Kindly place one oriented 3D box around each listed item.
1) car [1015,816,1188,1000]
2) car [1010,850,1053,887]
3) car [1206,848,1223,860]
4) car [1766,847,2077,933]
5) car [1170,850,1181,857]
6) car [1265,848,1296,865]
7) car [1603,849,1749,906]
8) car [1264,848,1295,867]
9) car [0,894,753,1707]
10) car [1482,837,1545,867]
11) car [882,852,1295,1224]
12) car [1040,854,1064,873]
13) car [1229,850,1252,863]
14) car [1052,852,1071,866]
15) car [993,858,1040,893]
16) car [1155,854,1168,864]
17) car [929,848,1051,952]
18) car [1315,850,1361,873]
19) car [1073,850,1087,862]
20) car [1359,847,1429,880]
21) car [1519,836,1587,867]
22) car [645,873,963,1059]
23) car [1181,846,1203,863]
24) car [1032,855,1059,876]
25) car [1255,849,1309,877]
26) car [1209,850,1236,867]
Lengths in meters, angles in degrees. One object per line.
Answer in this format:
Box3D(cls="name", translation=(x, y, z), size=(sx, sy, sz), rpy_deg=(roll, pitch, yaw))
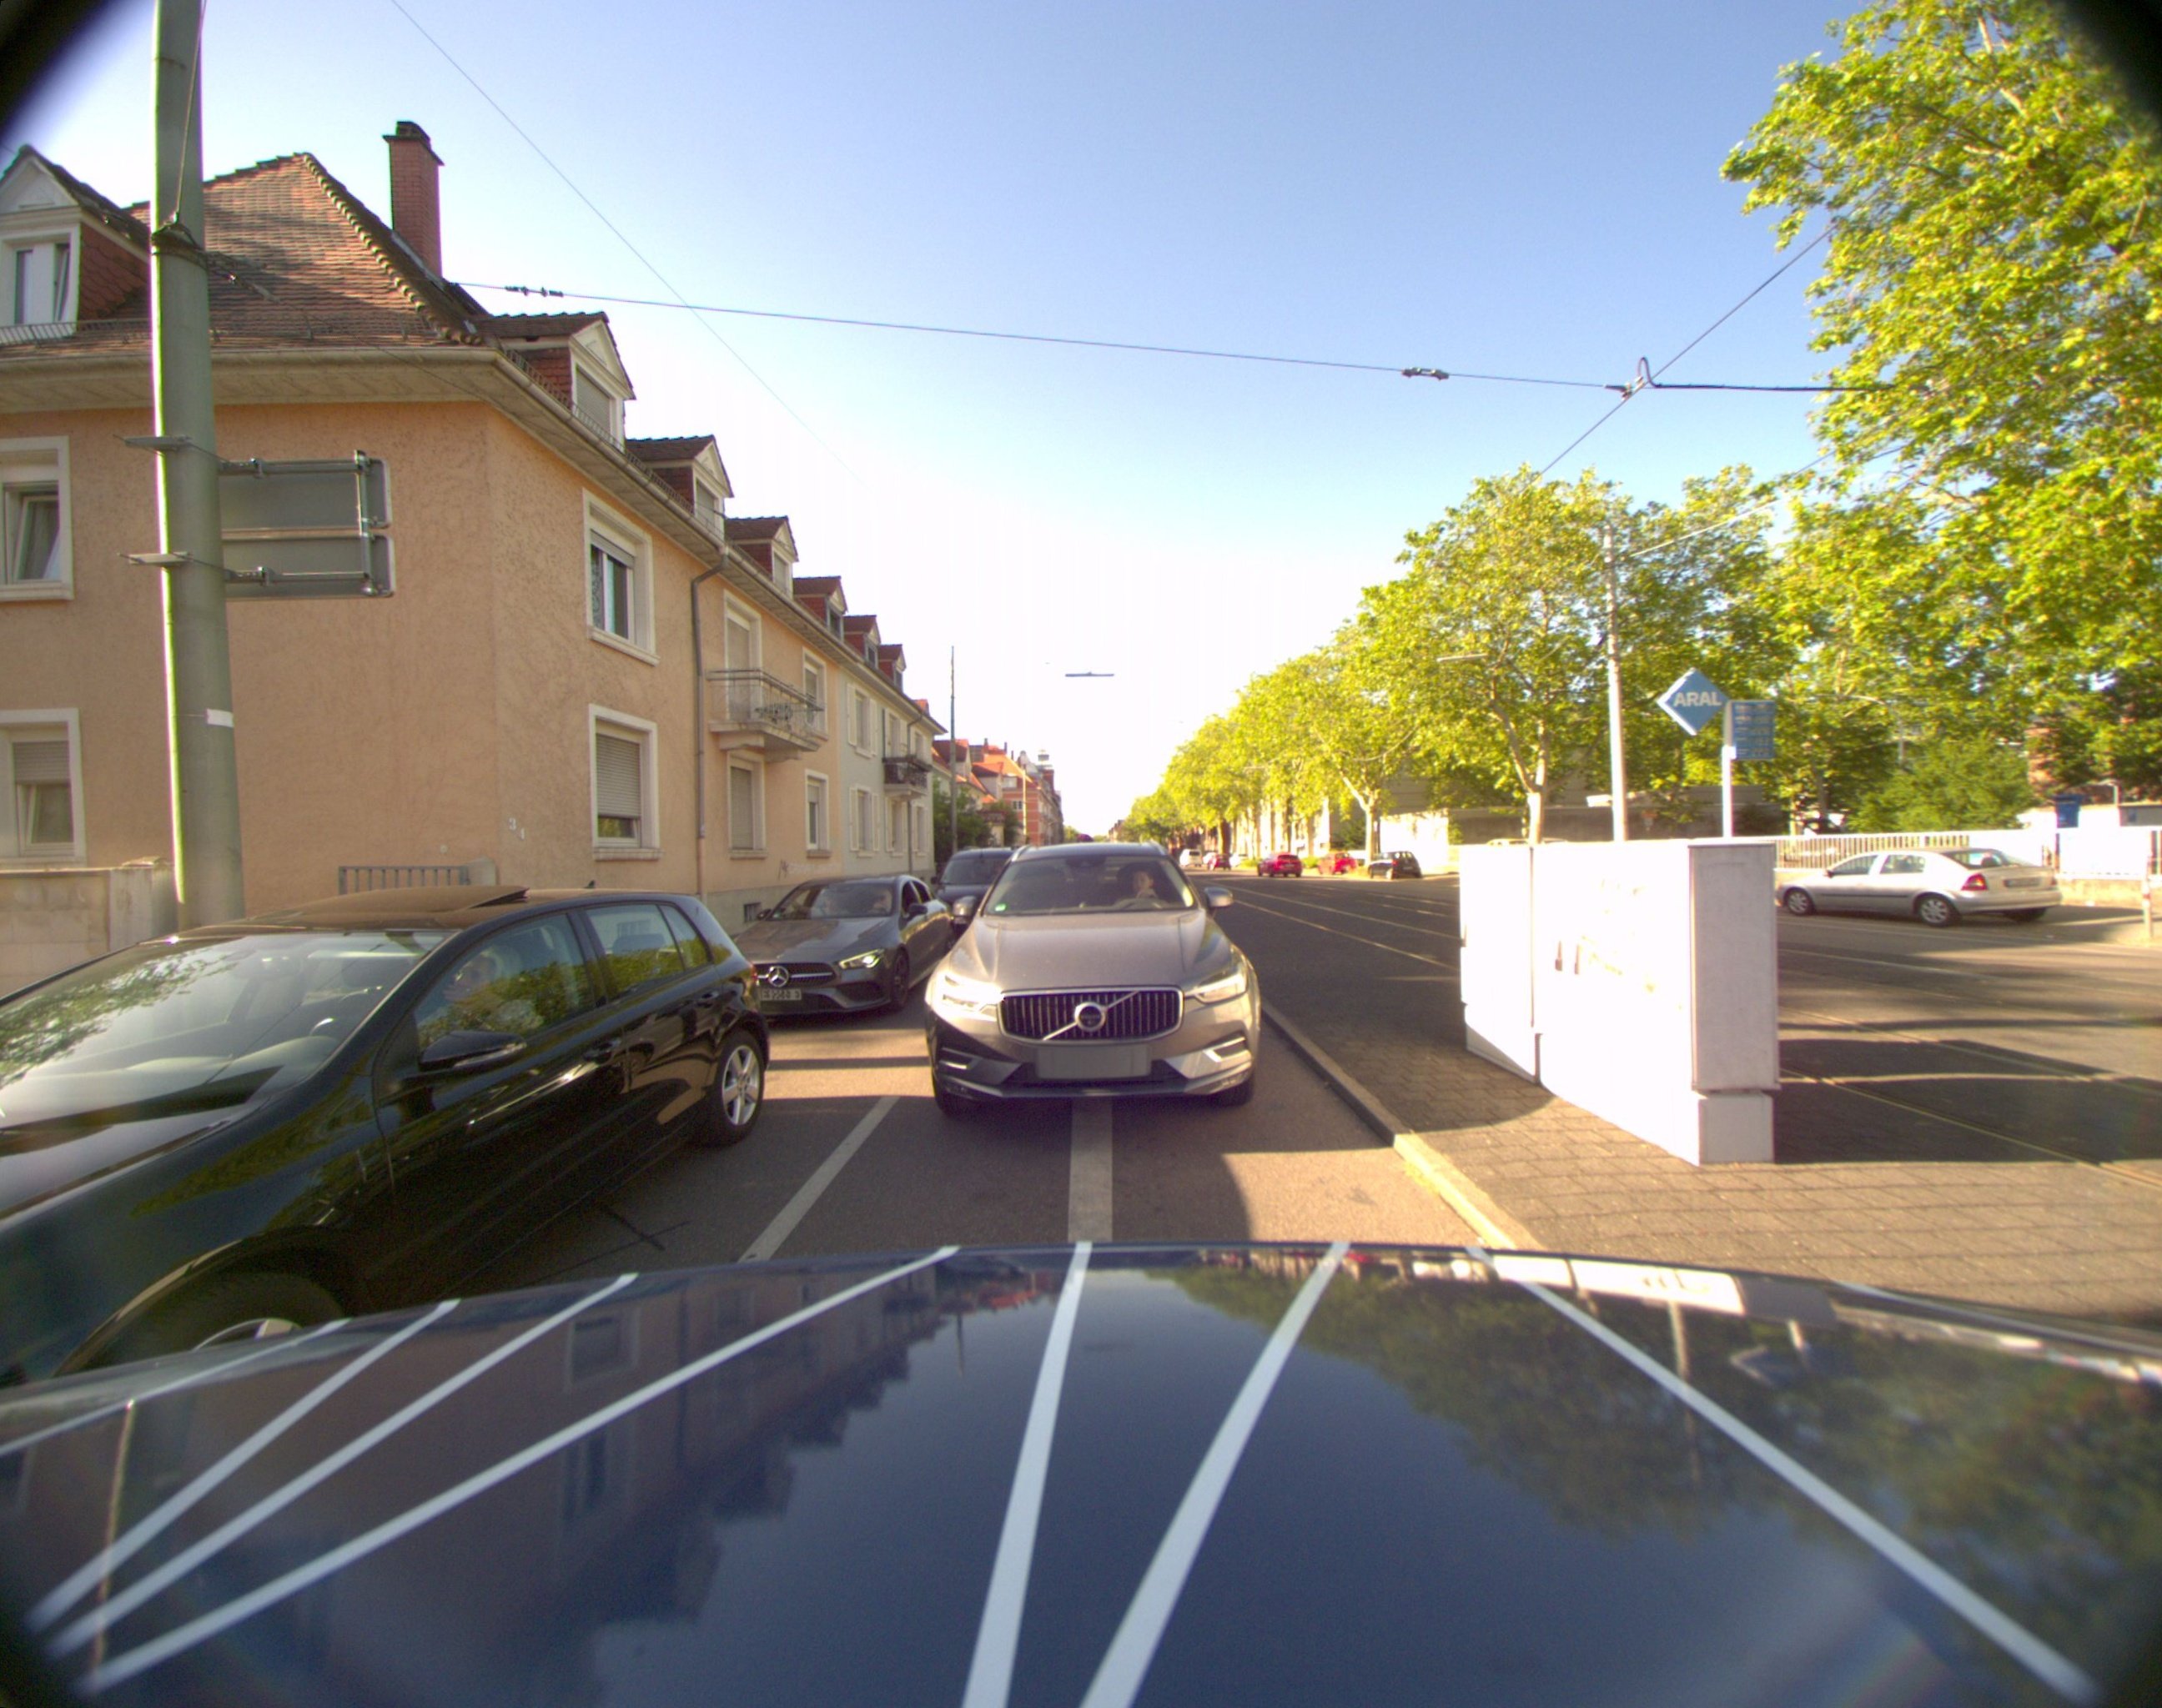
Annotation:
Box3D(cls="car", translation=(0.244, 0.596, 11.130), size=(1.912, 2.048, 4.763), rpy_deg=(-2, 1, 0))
Box3D(cls="car", translation=(-2.825, 0.770, 44.841), size=(1.937, 1.888, 7.210), rpy_deg=(-2, 1, 1))
Box3D(cls="car", translation=(17.675, 0.008, 100.790), size=(1.700, 1.548, 3.999), rpy_deg=(-1, 1, 1))
Box3D(cls="car", translation=(16.202, 0.601, 15.018), size=(1.731, 1.412, 3.999), rpy_deg=(-2, 1, 1))
Box3D(cls="car", translation=(18.603, -0.074, 149.572), size=(1.700, 1.401, 3.999), rpy_deg=(-1, 1, 1))
Box3D(cls="car", translation=(17.295, 0.226, 65.920), size=(1.700, 1.401, 3.999), rpy_deg=(-1, 1, 1))
Box3D(cls="car", translation=(16.489, 0.601, 21.265), size=(1.546, 1.412, 3.254), rpy_deg=(-2, 1, 1))
Box3D(cls="car", translation=(17.177, 0.319, 66.001), size=(1.700, 1.566, 3.999), rpy_deg=(-1, 1, 1))
Box3D(cls="car", translation=(-2.932, 0.982, 2.649), size=(1.733, 1.499, 4.051), rpy_deg=(-2, -1, 1))
Box3D(cls="car", translation=(21.723, -0.113, 38.281), size=(1.545, 1.412, 3.151), rpy_deg=(-2, 1, 4))
Box3D(cls="car", translation=(0.045, 0.878, 6.014), size=(1.912, 1.666, 4.763), rpy_deg=(-2, 1, 0))
Box3D(cls="car", translation=(-2.521, 0.804, 67.006), size=(1.841, 1.449, 3.999), rpy_deg=(-2, 1, 1))
Box3D(cls="car", translation=(17.527, 0.250, 83.528), size=(1.700, 1.401, 3.999), rpy_deg=(-1, 1, 1))
Box3D(cls="car", translation=(-2.172, 0.585, 85.444), size=(1.841, 1.449, 3.999), rpy_deg=(-2, 1, 1))
Box3D(cls="car", translation=(-3.052, 0.992, 36.639), size=(1.841, 1.449, 3.999), rpy_deg=(-2, 1, 1))
Box3D(cls="car", translation=(13.241, 0.848, 125.096), size=(1.764, 1.487, 3.999), rpy_deg=(-2, 1, 1))
Box3D(cls="car", translation=(-1.721, 0.803, 15.975), size=(1.866, 1.794, 4.778), rpy_deg=(-2, 1, 1))
Box3D(cls="car", translation=(16.975, 0.472, 50.386), size=(1.700, 1.460, 3.999), rpy_deg=(-1, 1, 1))
Box3D(cls="car", translation=(-0.147, 0.272, 106.496), size=(1.841, 1.449, 3.999), rpy_deg=(-2, 1, 1))
Box3D(cls="car", translation=(16.788, 0.484, 40.952), size=(1.753, 1.514, 4.434), rpy_deg=(-5, 1, -1))
Box3D(cls="car", translation=(23.352, -0.142, 37.725), size=(1.545, 1.412, 3.151), rpy_deg=(-2, 1, 4))
Box3D(cls="car", translation=(-2.781, 1.046, 8.925), size=(1.911, 1.411, 4.492), rpy_deg=(-2, 1, 2))
Box3D(cls="car", translation=(12.833, 0.039, 87.947), size=(1.850, 1.835, 4.394), rpy_deg=(-1, 1, -1))
Box3D(cls="car", translation=(-2.818, 0.887, 60.597), size=(1.841, 1.449, 3.999), rpy_deg=(-2, 1, 1))
Box3D(cls="car", translation=(11.936, 0.494, 45.402), size=(1.912, 1.514, 4.763), rpy_deg=(0, 1, 0))
Box3D(cls="car", translation=(12.694, 0.398, 68.300), size=(1.700, 1.412, 3.999), rpy_deg=(1, 1, 1))
